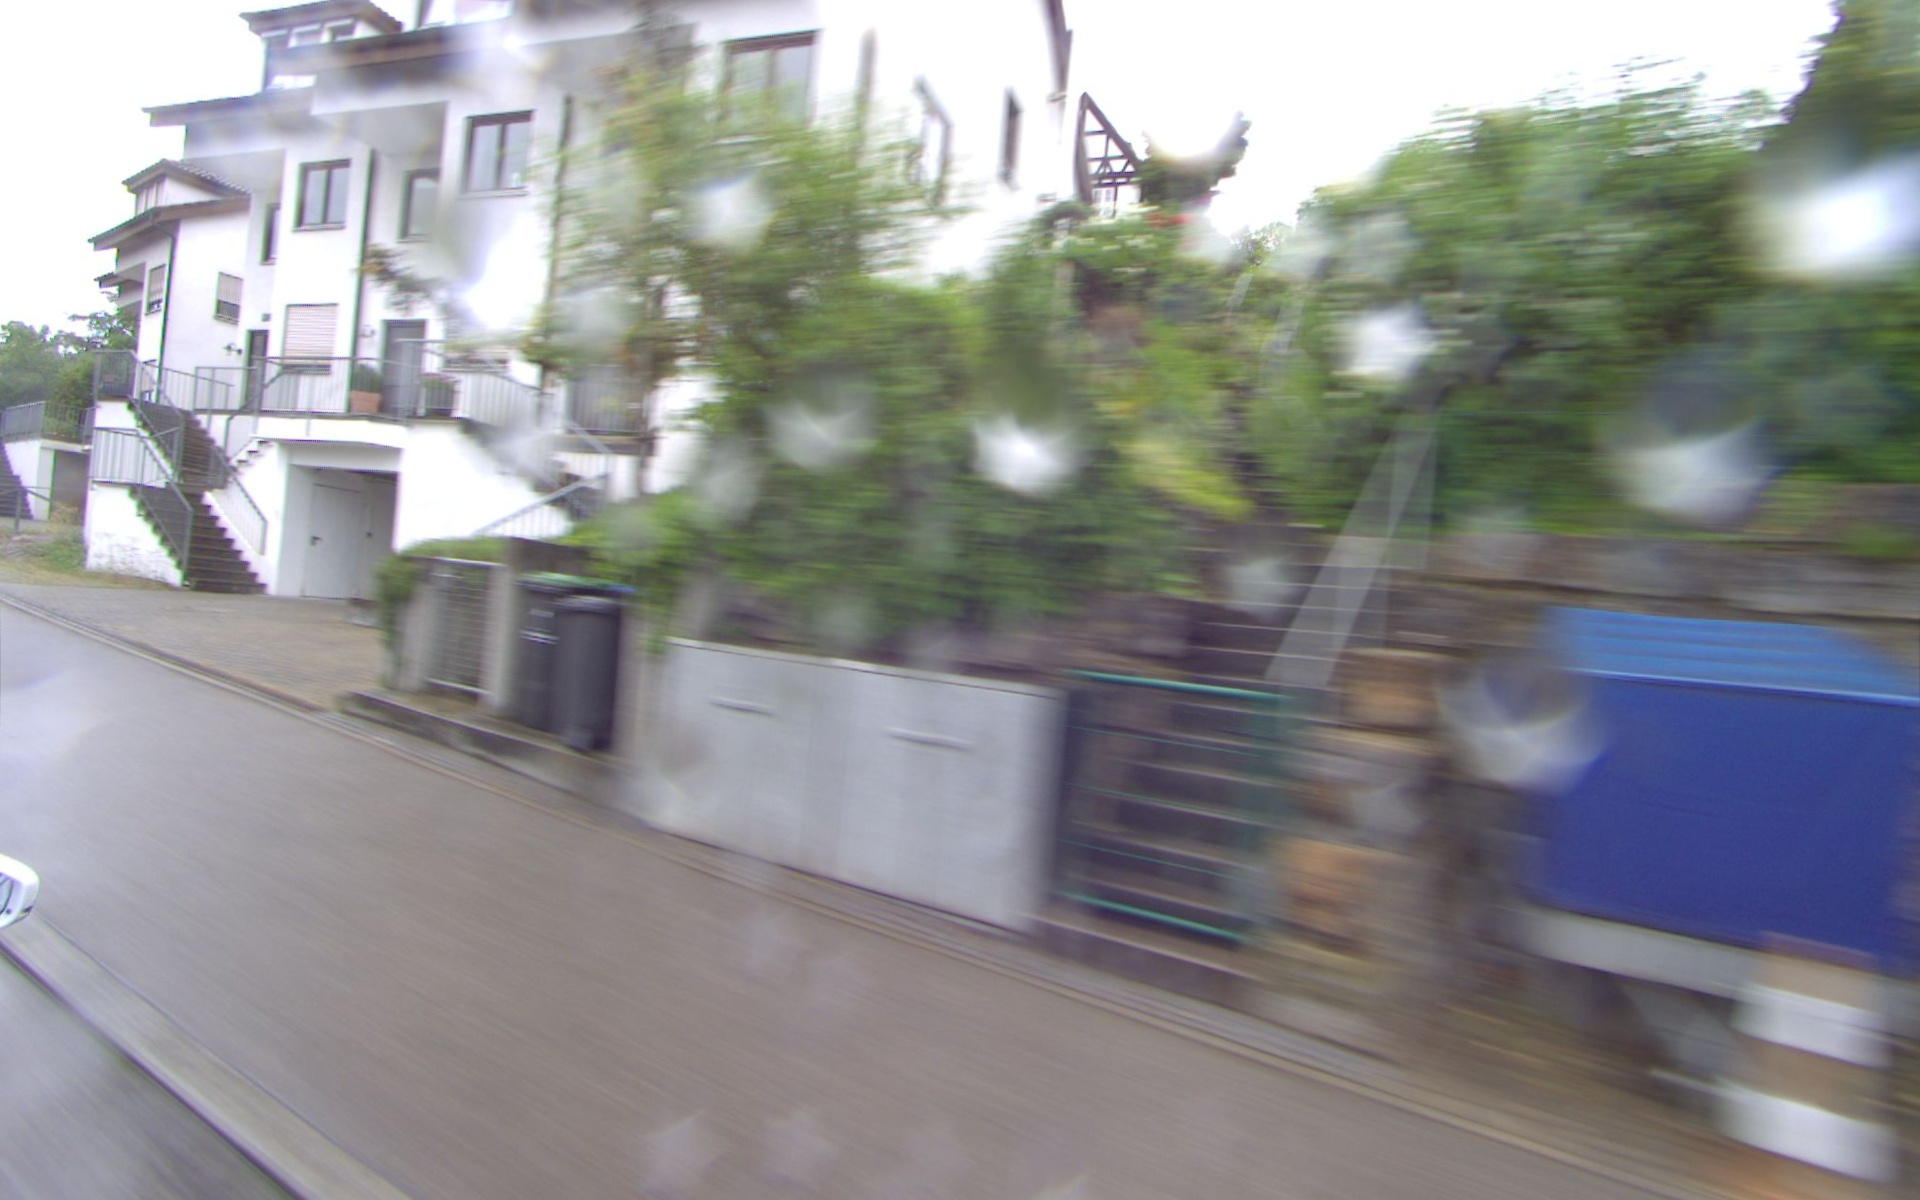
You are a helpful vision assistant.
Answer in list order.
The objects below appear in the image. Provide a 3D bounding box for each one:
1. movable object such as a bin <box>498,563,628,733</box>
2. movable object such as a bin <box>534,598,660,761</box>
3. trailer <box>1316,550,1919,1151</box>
[{"bbox_3d":[-2.705,0.323,6.856,0.567,1.060,0.492,7,1,34],"label":"movable object such as a bin"},{"bbox_3d":[-2.272,0.490,6.307,0.450,0.934,0.492,7,1,34],"label":"movable object such as a bin"},{"bbox_3d":[2.962,0.858,4.604,1.966,1.769,2.358,6,-1,30],"label":"trailer"}]
